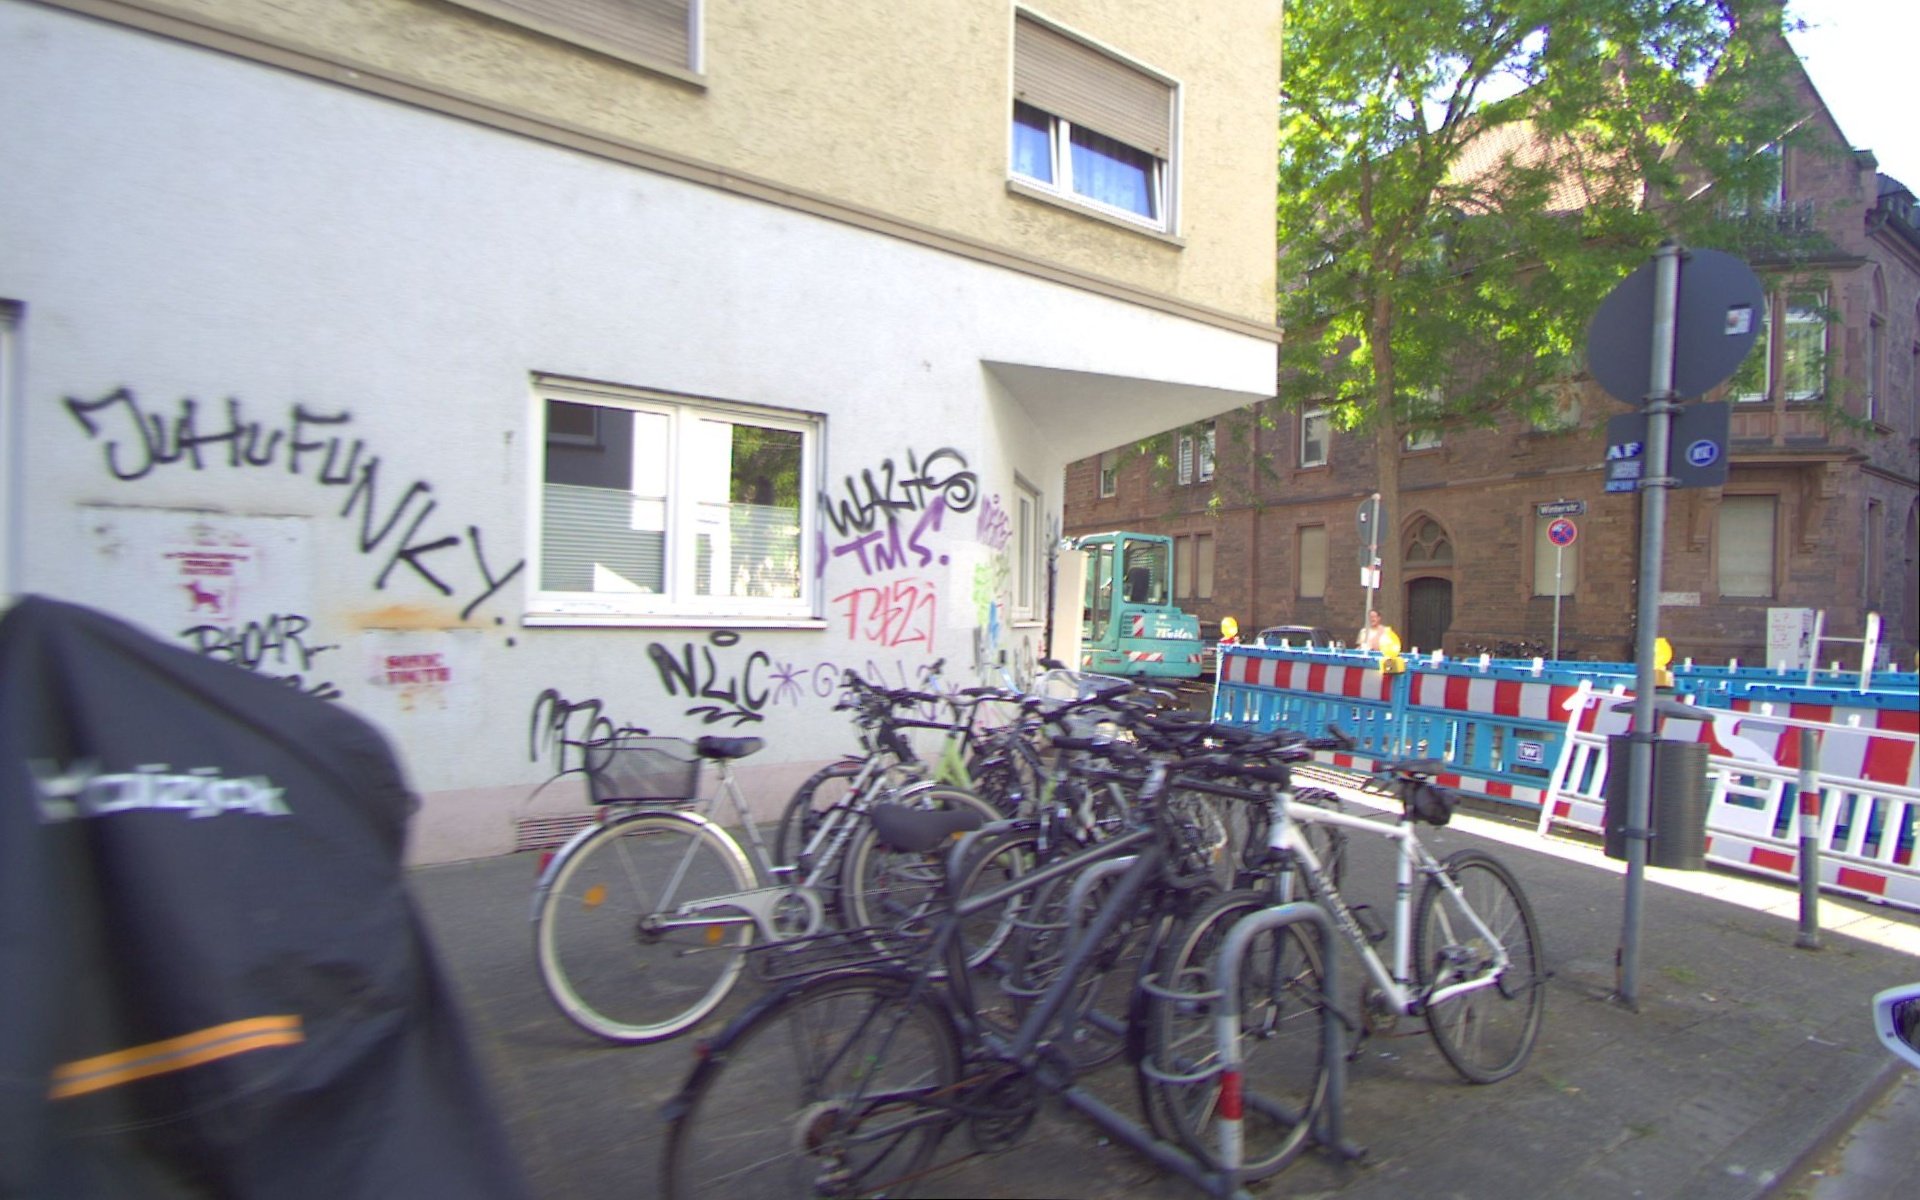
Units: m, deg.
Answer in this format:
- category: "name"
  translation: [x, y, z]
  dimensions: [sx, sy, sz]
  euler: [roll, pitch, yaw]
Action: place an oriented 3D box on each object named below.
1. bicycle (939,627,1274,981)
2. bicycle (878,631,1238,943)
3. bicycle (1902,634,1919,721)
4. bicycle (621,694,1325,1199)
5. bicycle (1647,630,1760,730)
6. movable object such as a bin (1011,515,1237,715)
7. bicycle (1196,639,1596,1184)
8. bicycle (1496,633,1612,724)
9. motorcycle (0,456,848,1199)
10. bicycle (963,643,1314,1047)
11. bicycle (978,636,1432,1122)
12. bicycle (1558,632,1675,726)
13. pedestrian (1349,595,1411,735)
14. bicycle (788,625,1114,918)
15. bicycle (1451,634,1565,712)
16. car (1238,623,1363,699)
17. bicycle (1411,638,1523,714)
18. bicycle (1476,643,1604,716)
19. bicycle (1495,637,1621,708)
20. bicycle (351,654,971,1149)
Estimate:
- category: "bicycle"
  translation: [0.683, 0.756, 4.255]
  dimensions: [1.683, 1.244, 0.292]
  euler: [0, 0, -36]
- category: "bicycle"
  translation: [0.559, 0.803, 4.941]
  dimensions: [2.010, 1.244, 0.396]
  euler: [0, 0, -36]
- category: "bicycle"
  translation: [17.067, 1.317, 17.313]
  dimensions: [2.771, 1.442, 0.678]
  euler: [2, -1, -36]
- category: "bicycle"
  translation: [0.122, 0.844, 2.324]
  dimensions: [1.649, 1.155, 0.422]
  euler: [2, 2, -34]
- category: "bicycle"
  translation: [10.972, 1.132, 14.797]
  dimensions: [2.120, 1.338, 0.678]
  euler: [0, 0, -34]
- category: "movable object such as a bin"
  translation: [2.360, 0.230, 14.940]
  dimensions: [2.046, 2.635, 2.739]
  euler: [1, -1, -30]
- category: "bicycle"
  translation: [1.352, 0.761, 2.985]
  dimensions: [1.490, 1.244, 0.396]
  euler: [0, 0, -36]
- category: "bicycle"
  translation: [9.809, 1.246, 16.546]
  dimensions: [2.419, 1.338, 0.678]
  euler: [0, 0, -34]
- category: "motorcycle"
  translation: [-1.488, 0.625, 1.786]
  dimensions: [2.474, 1.502, 0.902]
  euler: [1, 0, 29]
- category: "bicycle"
  translation: [0.737, 0.815, 3.837]
  dimensions: [1.538, 1.244, 0.361]
  euler: [0, 0, -37]
- category: "bicycle"
  translation: [0.918, 0.772, 3.398]
  dimensions: [1.856, 1.244, 0.396]
  euler: [0, 0, -36]
- category: "bicycle"
  translation: [10.392, 1.200, 15.872]
  dimensions: [2.419, 1.338, 0.678]
  euler: [0, 0, -34]
- category: "pedestrian"
  translation: [5.432, 0.826, 12.998]
  dimensions: [0.553, 1.764, 0.520]
  euler: [2, -1, -39]
- category: "bicycle"
  translation: [0.021, 0.770, 5.115]
  dimensions: [1.799, 1.244, 0.396]
  euler: [0, 0, -38]
- category: "bicycle"
  translation: [9.394, 1.205, 17.176]
  dimensions: [2.419, 1.196, 0.679]
  euler: [0, 0, -34]
- category: "car"
  translation: [7.742, 1.291, 22.592]
  dimensions: [1.827, 1.503, 4.263]
  euler: [1, -1, 30]
- category: "bicycle"
  translation: [8.997, 1.306, 17.785]
  dimensions: [2.419, 1.196, 0.679]
  euler: [0, 0, -34]
- category: "bicycle"
  translation: [10.635, 1.430, 18.494]
  dimensions: [0.678, 1.196, 1.950]
  euler: [0, 0, -33]
- category: "bicycle"
  translation: [11.228, 1.335, 18.919]
  dimensions: [0.678, 1.196, 1.951]
  euler: [0, 0, -33]
- category: "bicycle"
  translation: [-0.851, 0.779, 3.266]
  dimensions: [1.856, 1.171, 0.542]
  euler: [2, -1, -40]
